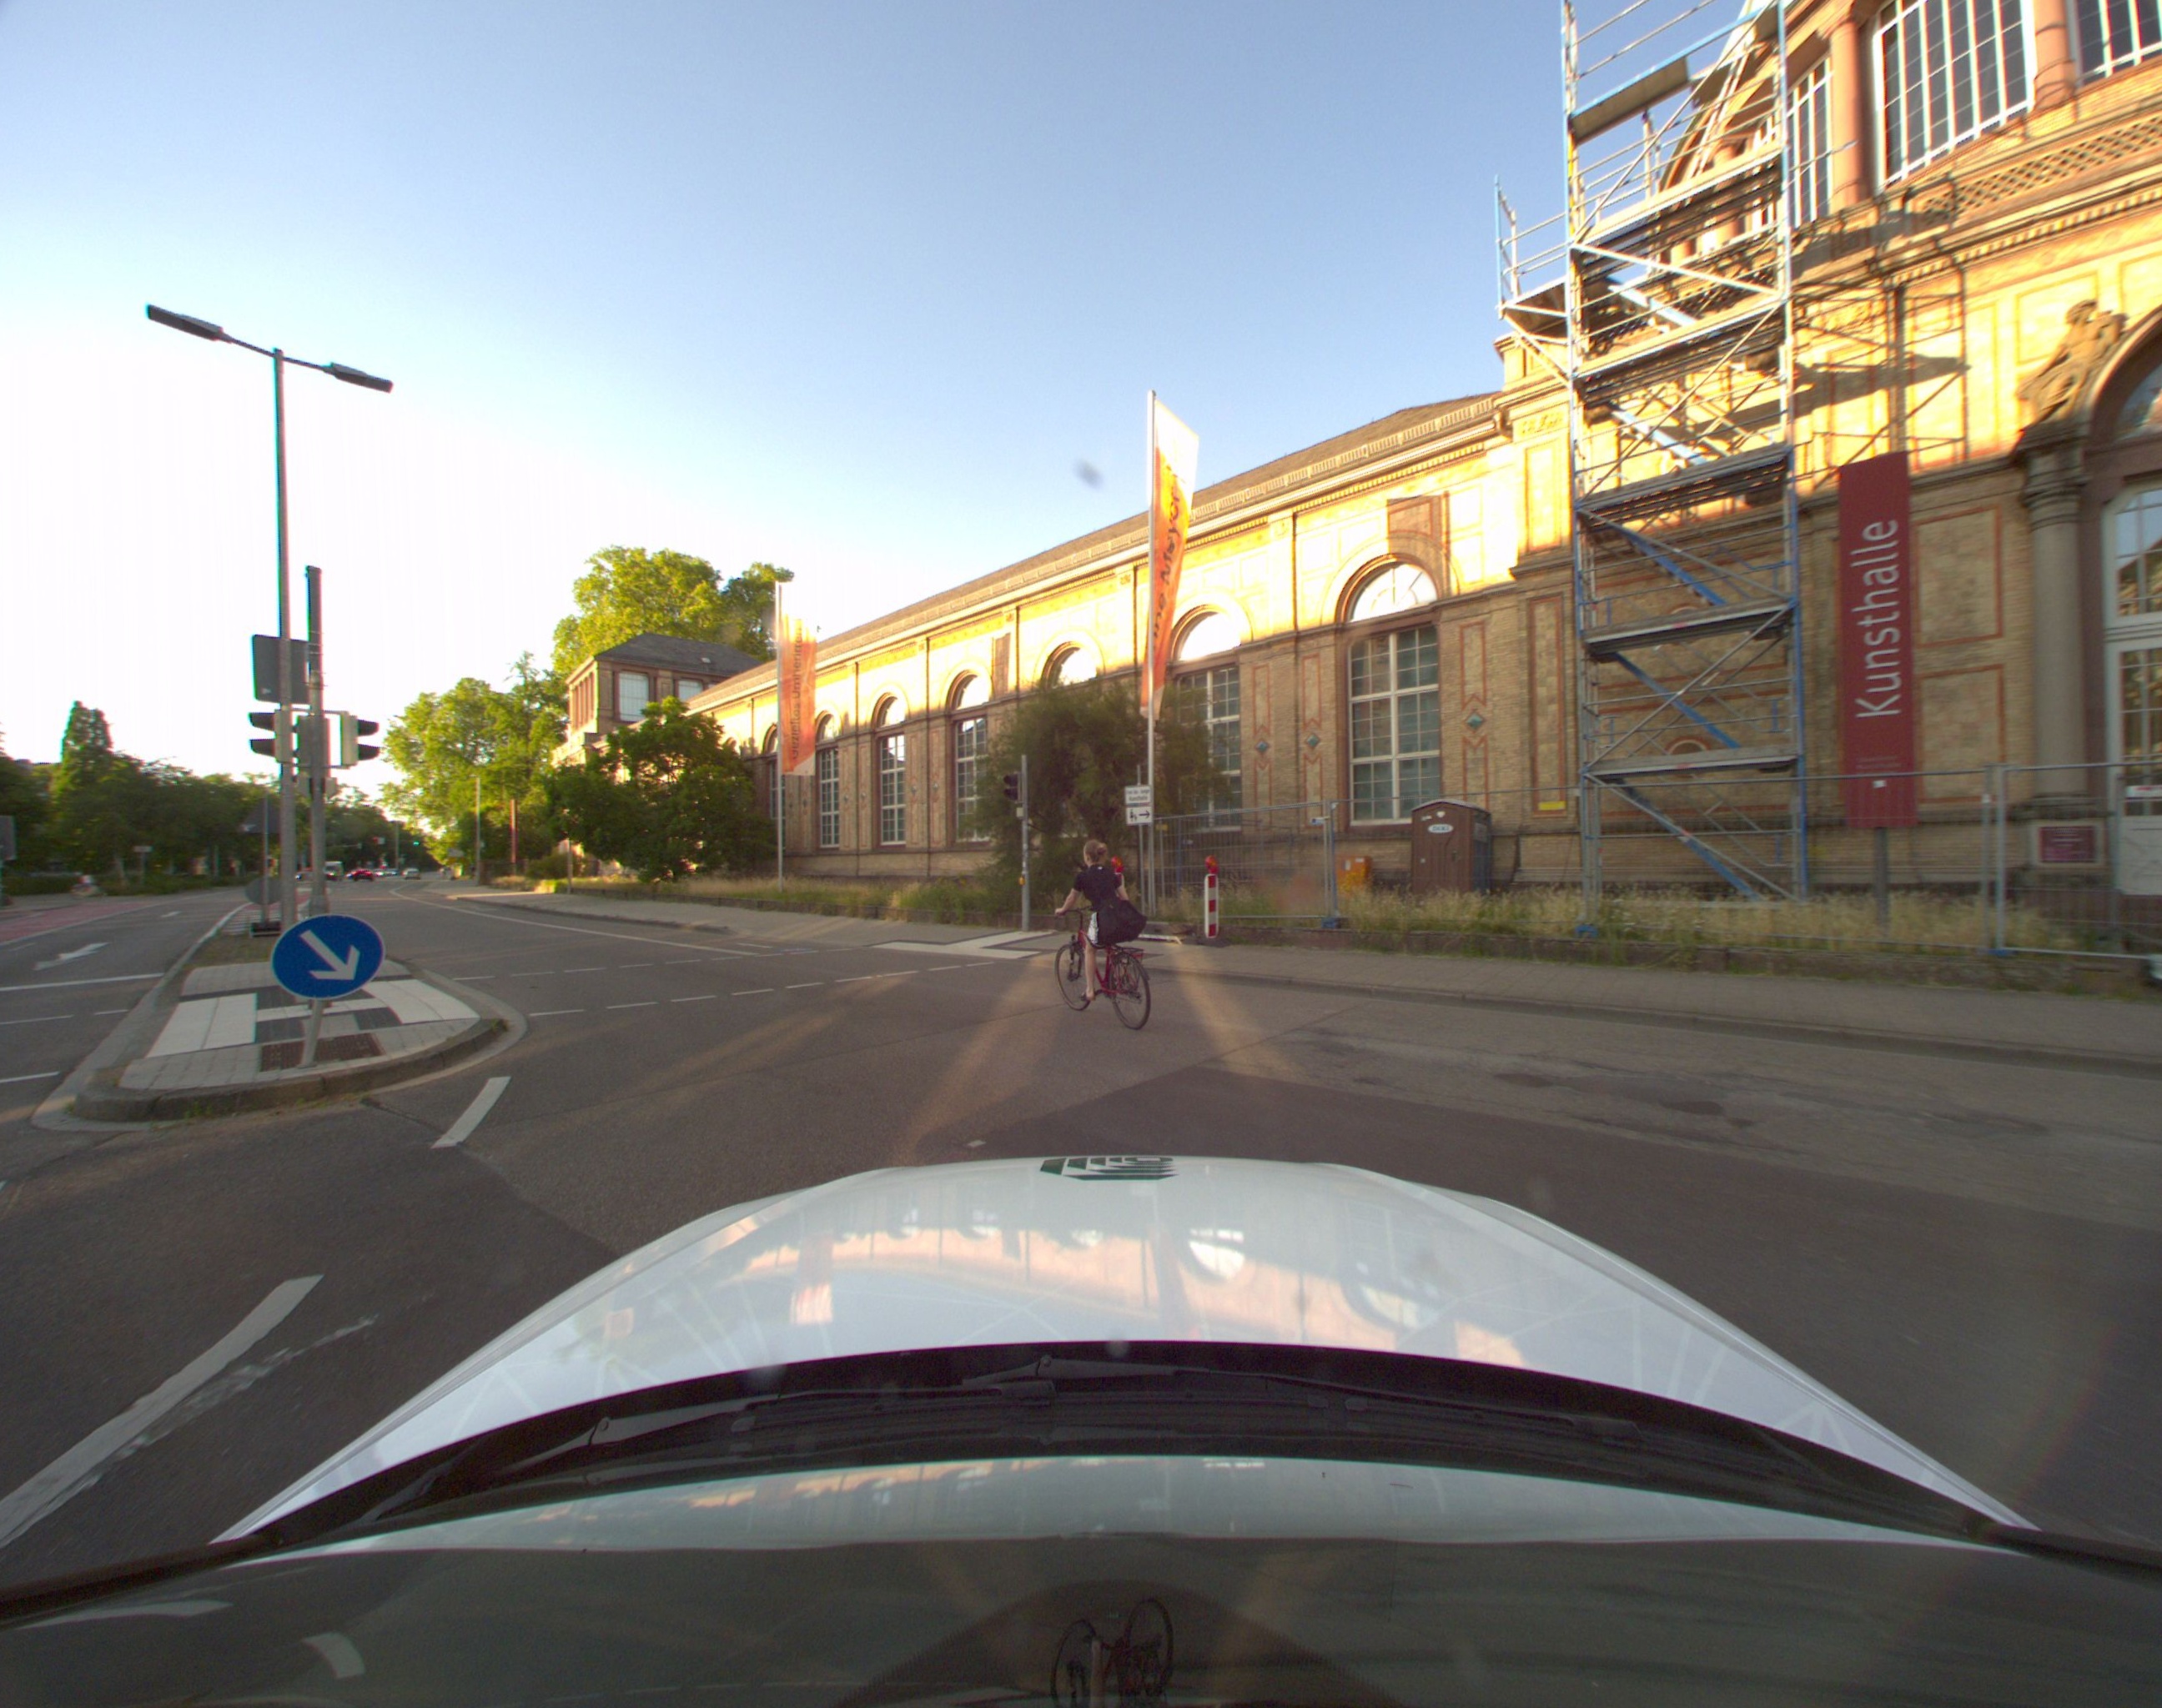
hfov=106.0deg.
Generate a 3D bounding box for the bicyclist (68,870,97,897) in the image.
[{"bbox_3d":[-62.045,1.817,50.599,0.747,1.596,0.875,-1,0,7],"label":"bicyclist"}]

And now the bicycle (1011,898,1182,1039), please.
[{"bbox_3d":[0.088,1.052,8.173,0.716,1.156,2.047,1,-2,-32],"label":"bicycle"}]

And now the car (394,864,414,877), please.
[{"bbox_3d":[-97.065,2.319,116.803,2.010,1.720,3.954,-1,0,-38],"label":"car"}]

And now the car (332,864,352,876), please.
[{"bbox_3d":[-110.427,2.386,121.696,2.010,1.720,3.953,-1,0,-39],"label":"car"}]

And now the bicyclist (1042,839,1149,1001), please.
[{"bbox_3d":[0.134,0.624,8.104,0.721,1.502,0.842,1,-2,-33],"label":"bicyclist"}]

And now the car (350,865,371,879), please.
[{"bbox_3d":[-91.786,2.230,103.763,2.011,1.720,3.952,-1,0,-41],"label":"car"}]

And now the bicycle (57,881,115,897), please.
[{"bbox_3d":[-62.003,2.170,50.790,0.766,0.929,2.200,-1,0,8],"label":"bicycle"}]
